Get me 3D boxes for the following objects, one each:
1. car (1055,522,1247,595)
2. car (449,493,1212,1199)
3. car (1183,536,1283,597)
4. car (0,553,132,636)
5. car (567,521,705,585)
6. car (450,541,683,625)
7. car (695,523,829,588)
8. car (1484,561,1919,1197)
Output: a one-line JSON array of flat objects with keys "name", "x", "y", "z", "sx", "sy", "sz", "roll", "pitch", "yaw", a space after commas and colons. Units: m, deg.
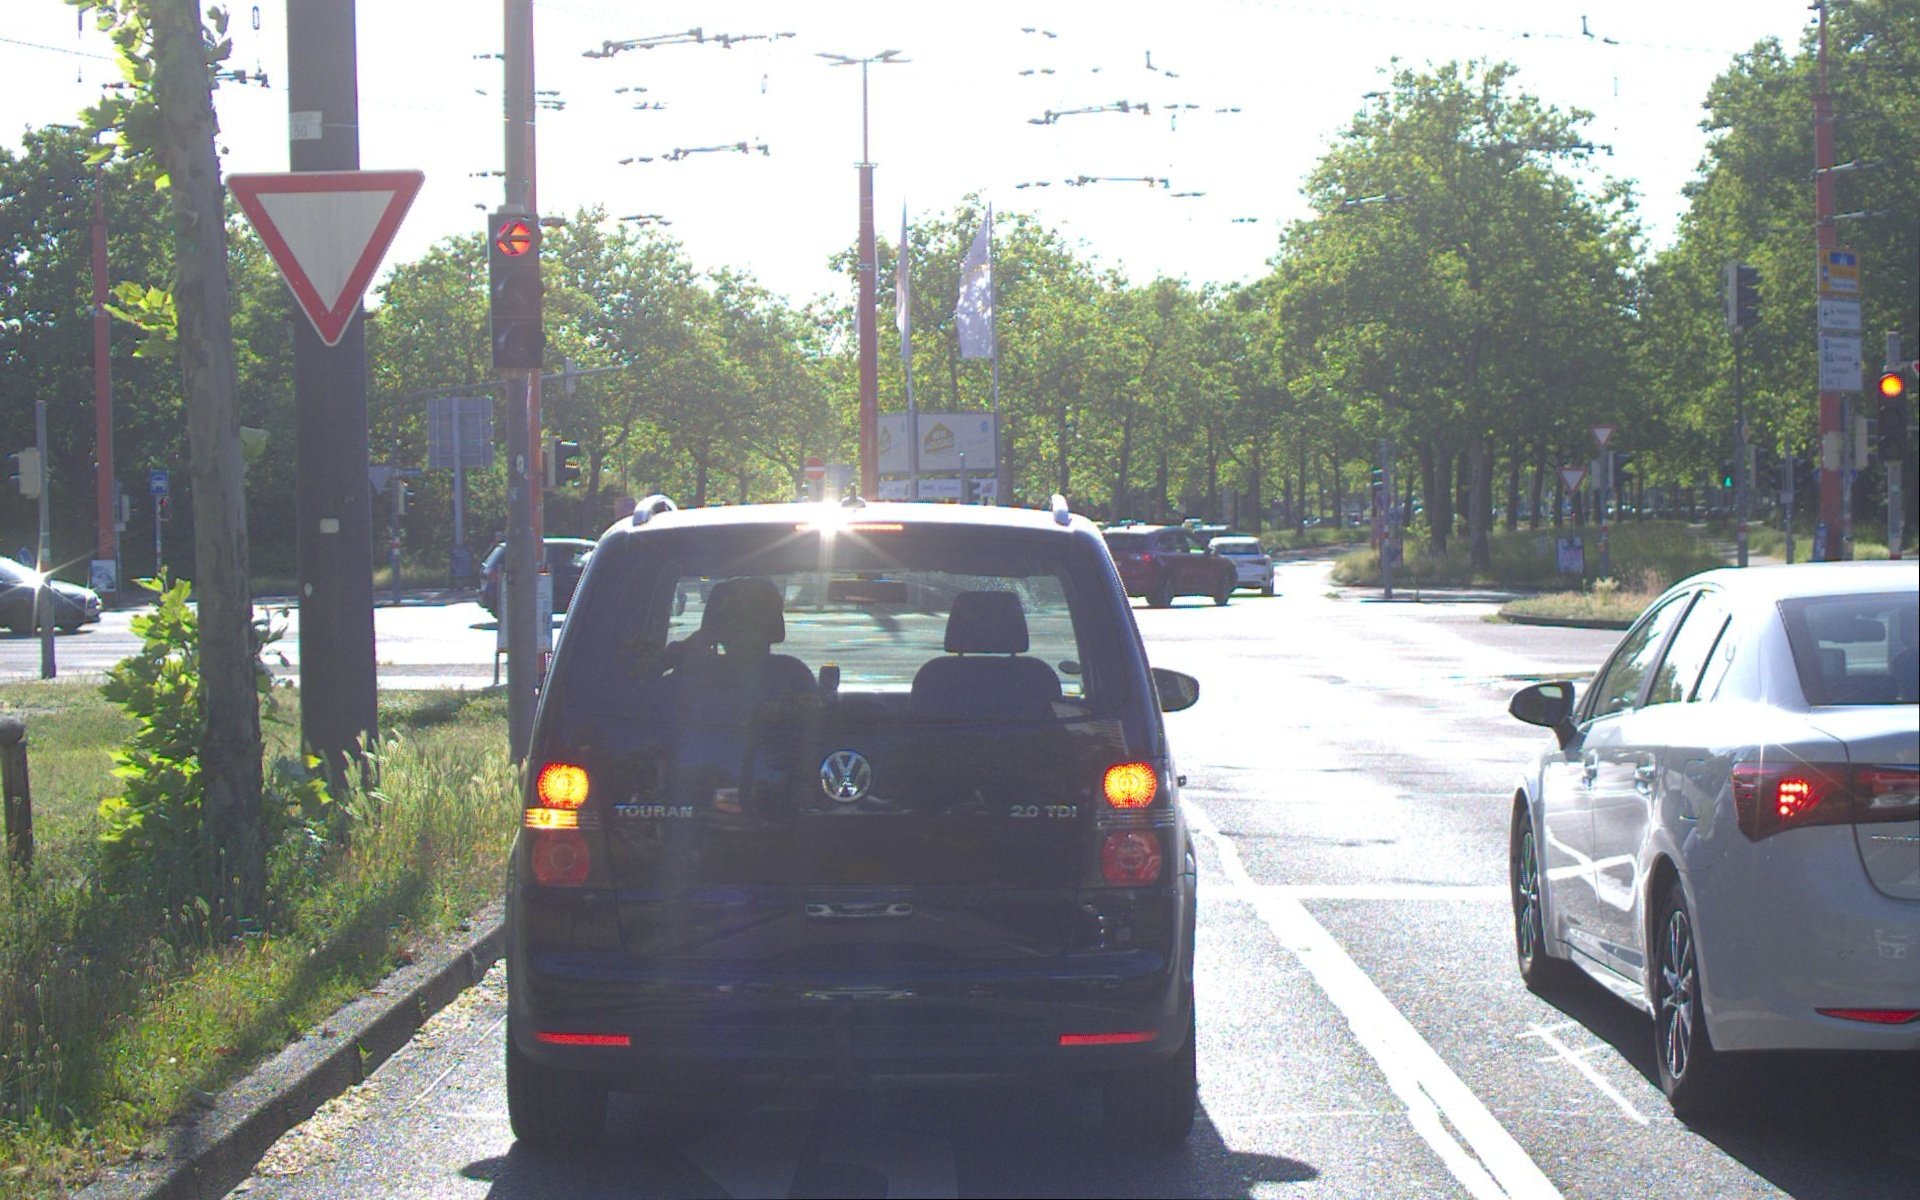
[{"name": "car", "x": 3.977, "y": -0.877, "z": 70.902, "sx": 1.912, "sy": 1.459, "sz": 4.365, "roll": 1, "pitch": 1, "yaw": 35}, {"name": "car", "x": -0.317, "y": 0.544, "z": 9.874, "sx": 1.737, "sy": 1.635, "sz": 4.000, "roll": 0, "pitch": 1, "yaw": -1}, {"name": "car", "x": 6.650, "y": -0.838, "z": 84.052, "sx": 1.908, "sy": 1.459, "sz": 4.223, "roll": 0, "pitch": 1, "yaw": -3}, {"name": "car", "x": -17.371, "y": -0.109, "z": 62.426, "sx": 4.226, "sy": 1.459, "sz": 1.914, "roll": 0, "pitch": 1, "yaw": -1}, {"name": "car", "x": -8.756, "y": -1.279, "z": 93.298, "sx": 1.995, "sy": 1.679, "sz": 4.825, "roll": 0, "pitch": 1, "yaw": 17}, {"name": "car", "x": -7.150, "y": -0.320, "z": 62.364, "sx": 4.041, "sy": 1.459, "sz": 1.915, "roll": -1, "pitch": 1, "yaw": -11}, {"name": "car", "x": -5.231, "y": -1.200, "z": 91.601, "sx": 1.995, "sy": 1.679, "sz": 4.825, "roll": 0, "pitch": 1, "yaw": 17}, {"name": "car", "x": 2.687, "y": 0.628, "z": 10.075, "sx": 1.715, "sy": 1.449, "sz": 4.144, "roll": 0, "pitch": 1, "yaw": 1}]
